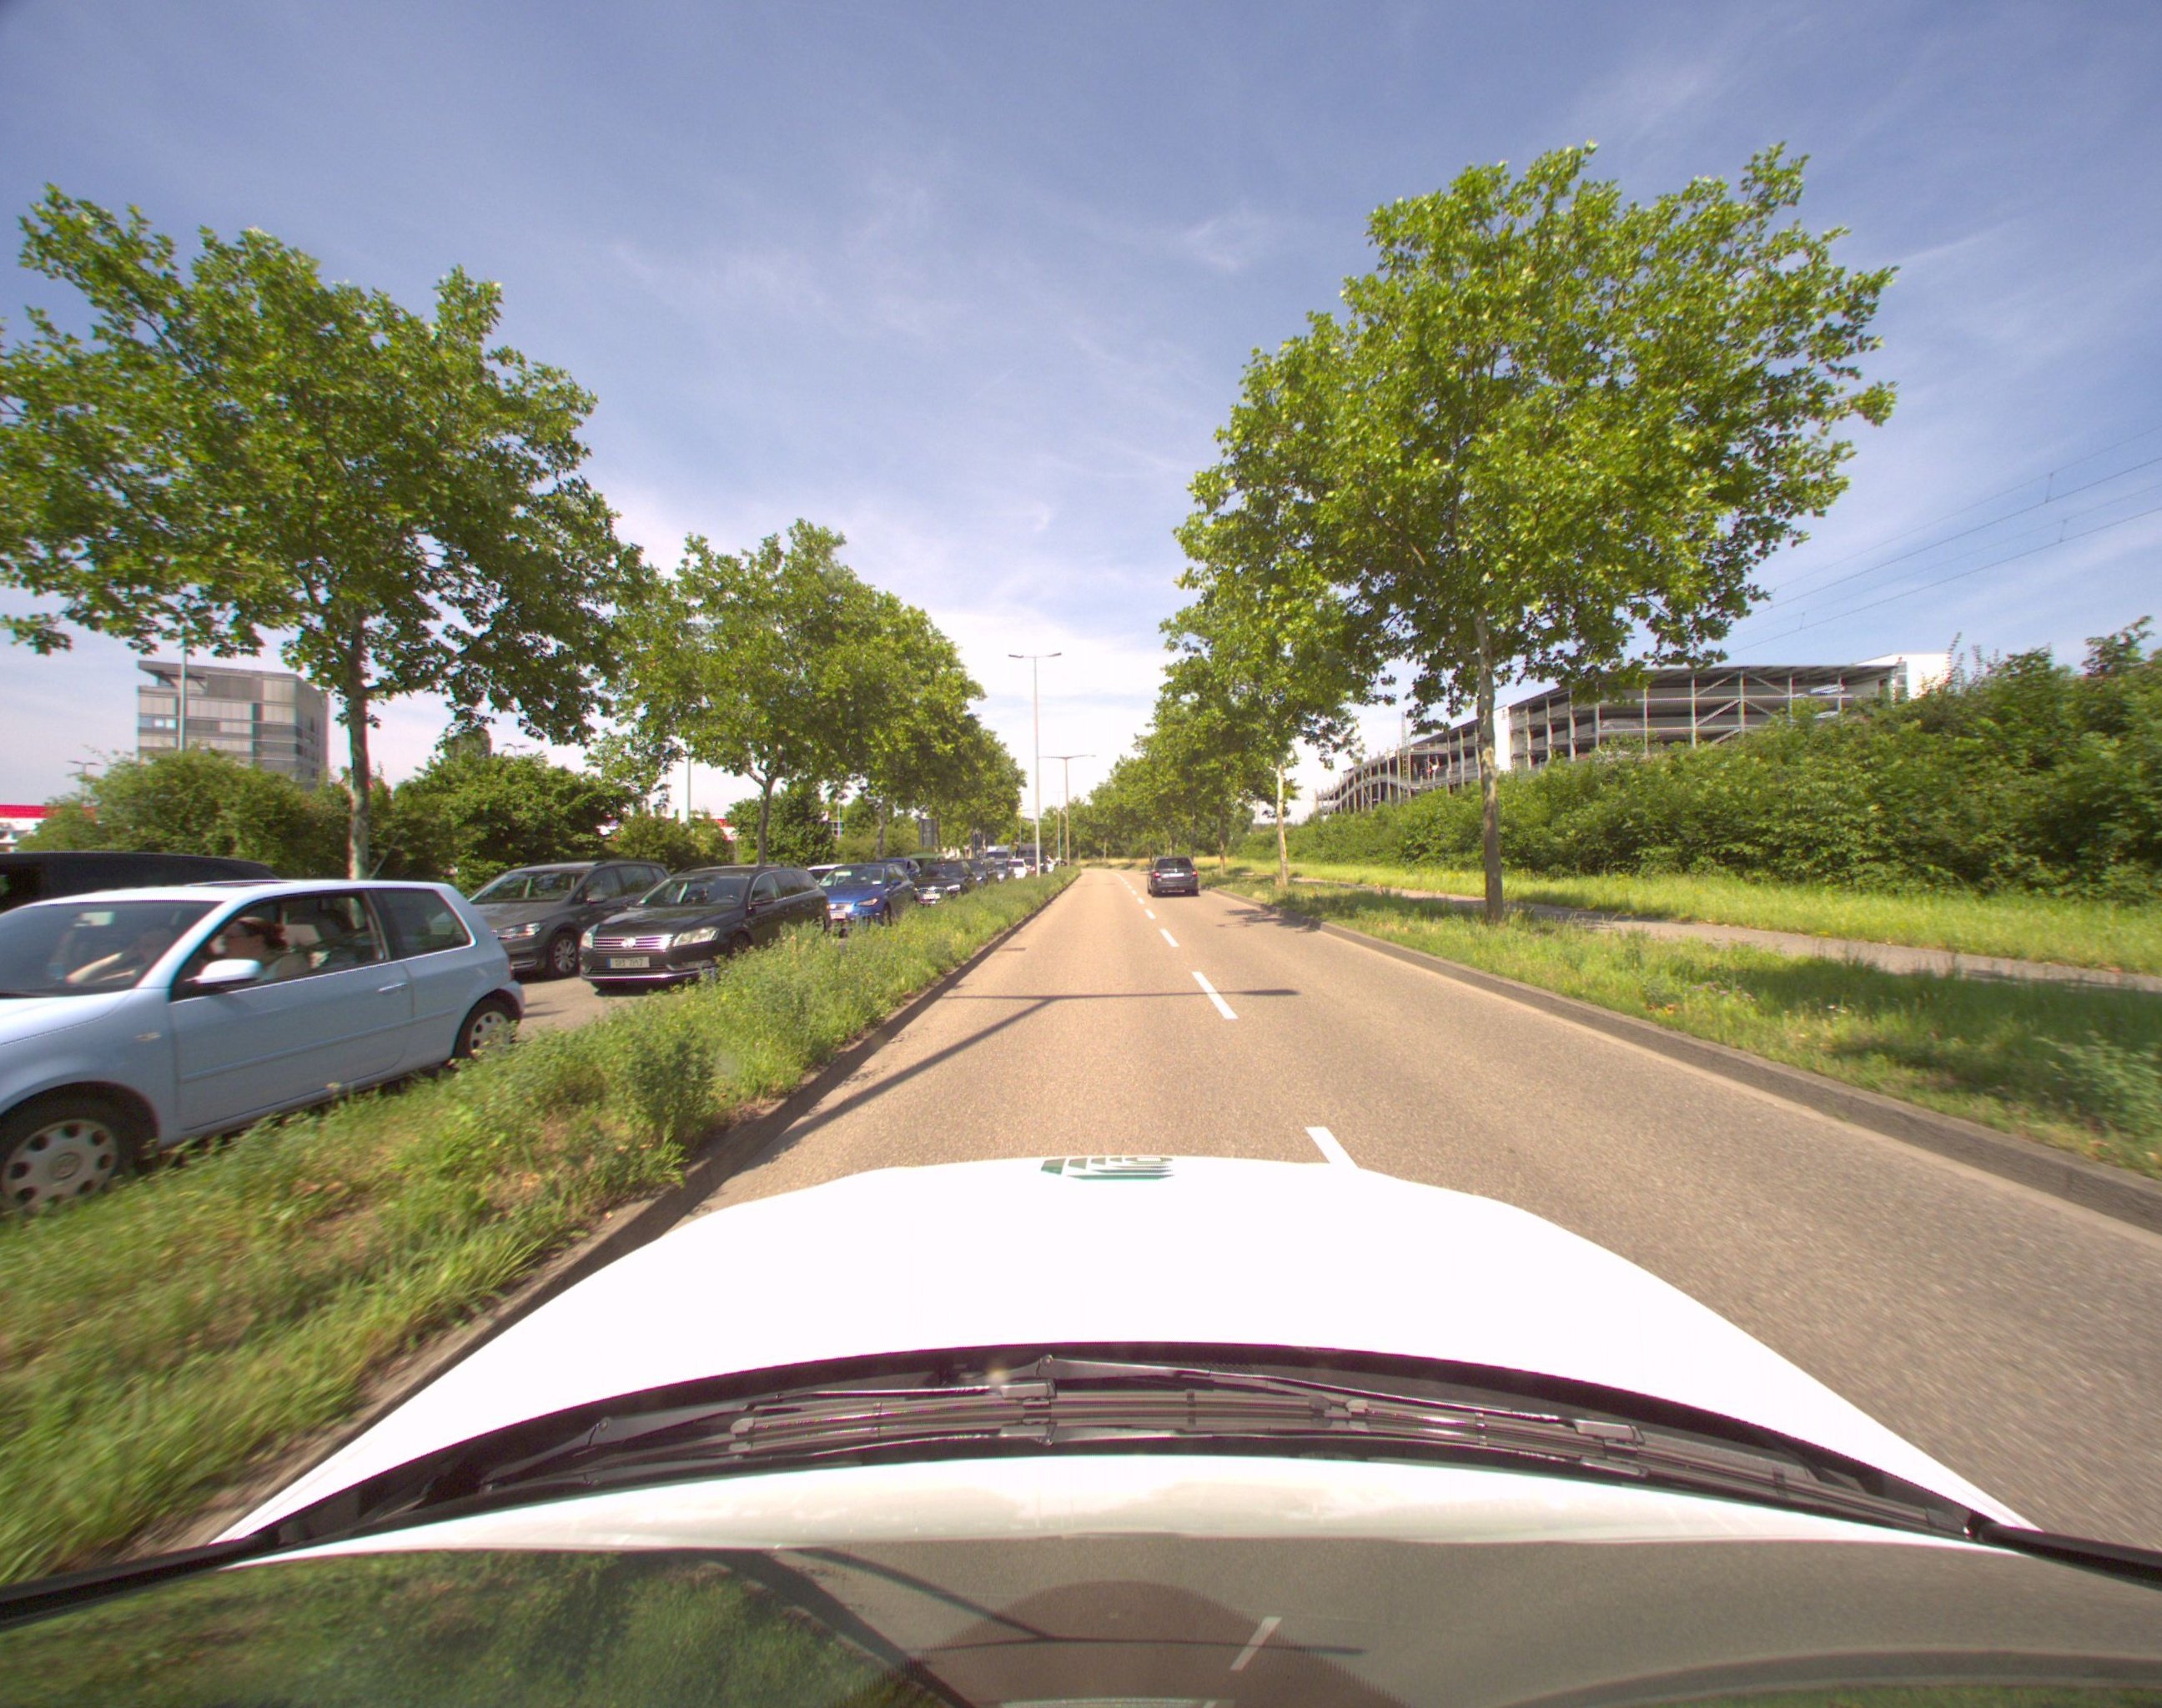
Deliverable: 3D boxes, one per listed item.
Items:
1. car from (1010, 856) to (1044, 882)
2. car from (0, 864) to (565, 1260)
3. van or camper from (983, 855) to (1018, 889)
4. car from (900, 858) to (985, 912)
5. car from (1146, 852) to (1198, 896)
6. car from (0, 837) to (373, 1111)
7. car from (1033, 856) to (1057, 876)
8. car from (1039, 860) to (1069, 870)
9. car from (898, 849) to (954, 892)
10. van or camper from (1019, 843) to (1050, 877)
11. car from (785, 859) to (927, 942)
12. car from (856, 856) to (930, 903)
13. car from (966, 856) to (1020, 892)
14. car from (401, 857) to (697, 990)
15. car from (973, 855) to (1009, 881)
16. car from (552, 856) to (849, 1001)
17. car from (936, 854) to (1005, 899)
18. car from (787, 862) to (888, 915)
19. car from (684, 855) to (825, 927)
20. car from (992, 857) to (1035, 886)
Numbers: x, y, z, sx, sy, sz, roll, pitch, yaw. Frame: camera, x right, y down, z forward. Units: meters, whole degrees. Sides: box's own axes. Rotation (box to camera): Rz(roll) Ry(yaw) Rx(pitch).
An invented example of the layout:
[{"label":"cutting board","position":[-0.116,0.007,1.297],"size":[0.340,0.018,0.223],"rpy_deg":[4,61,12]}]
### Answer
[{"label":"car","position":[-3.340,0.895,51.028],"size":[1.682,1.510,3.816],"rpy_deg":[-2,0,2]},{"label":"car","position":[-4.959,0.843,4.483],"size":[1.682,1.472,3.816],"rpy_deg":[-2,0,2]},{"label":"van or camper","position":[-6.443,1.392,65.779],"size":[2.007,2.587,5.519],"rpy_deg":[-2,0,2]},{"label":"car","position":[-4.208,0.892,25.482],"size":[1.817,1.465,4.450],"rpy_deg":[-2,0,0]},{"label":"car","position":[3.294,0.695,30.001],"size":[1.667,1.453,4.040],"rpy_deg":[2,0,4]},{"label":"car","position":[-7.753,0.786,5.456],"size":[1.815,1.737,4.768],"rpy_deg":[-1,-1,0]},{"label":"car","position":[-2.965,1.009,67.691],"size":[1.682,1.530,3.816],"rpy_deg":[-2,-1,2]},{"label":"car","position":[-4.412,1.760,132.938],"size":[4.562,1.463,1.927],"rpy_deg":[1,1,34]},{"label":"car","position":[-7.228,0.739,38.324],"size":[1.682,1.858,4.038],"rpy_deg":[-2,-1,2]},{"label":"van or camper","position":[-3.372,0.444,60.197],"size":[1.932,2.368,5.397],"rpy_deg":[-2,-1,0]},{"label":"car","position":[-4.649,0.888,17.486],"size":[1.778,1.489,4.211],"rpy_deg":[-2,0,0]},{"label":"car","position":[-7.139,0.910,31.346],"size":[1.682,1.631,4.312],"rpy_deg":[-2,0,2]},{"label":"car","position":[-4.089,0.888,38.539],"size":[1.806,1.530,4.644],"rpy_deg":[-2,0,2]},{"label":"car","position":[-7.821,0.904,12.551],"size":[1.682,1.646,4.179],"rpy_deg":[-2,0,2]},{"label":"car","position":[-6.447,0.988,58.476],"size":[1.986,1.756,4.001],"rpy_deg":[-2,0,1]},{"label":"car","position":[-4.924,0.839,11.478],"size":[1.751,1.530,4.829],"rpy_deg":[-2,0,2]},{"label":"car","position":[-4.280,0.826,32.314],"size":[1.840,1.607,5.010],"rpy_deg":[-2,0,2]},{"label":"car","position":[-7.620,1.022,25.982],"size":[1.725,1.451,4.430],"rpy_deg":[-2,0,2]},{"label":"car","position":[-7.762,0.815,19.783],"size":[1.682,1.530,3.940],"rpy_deg":[-2,0,2]},{"label":"car","position":[-3.646,0.908,44.607],"size":[1.777,1.459,4.473],"rpy_deg":[-1,0,2]}]
